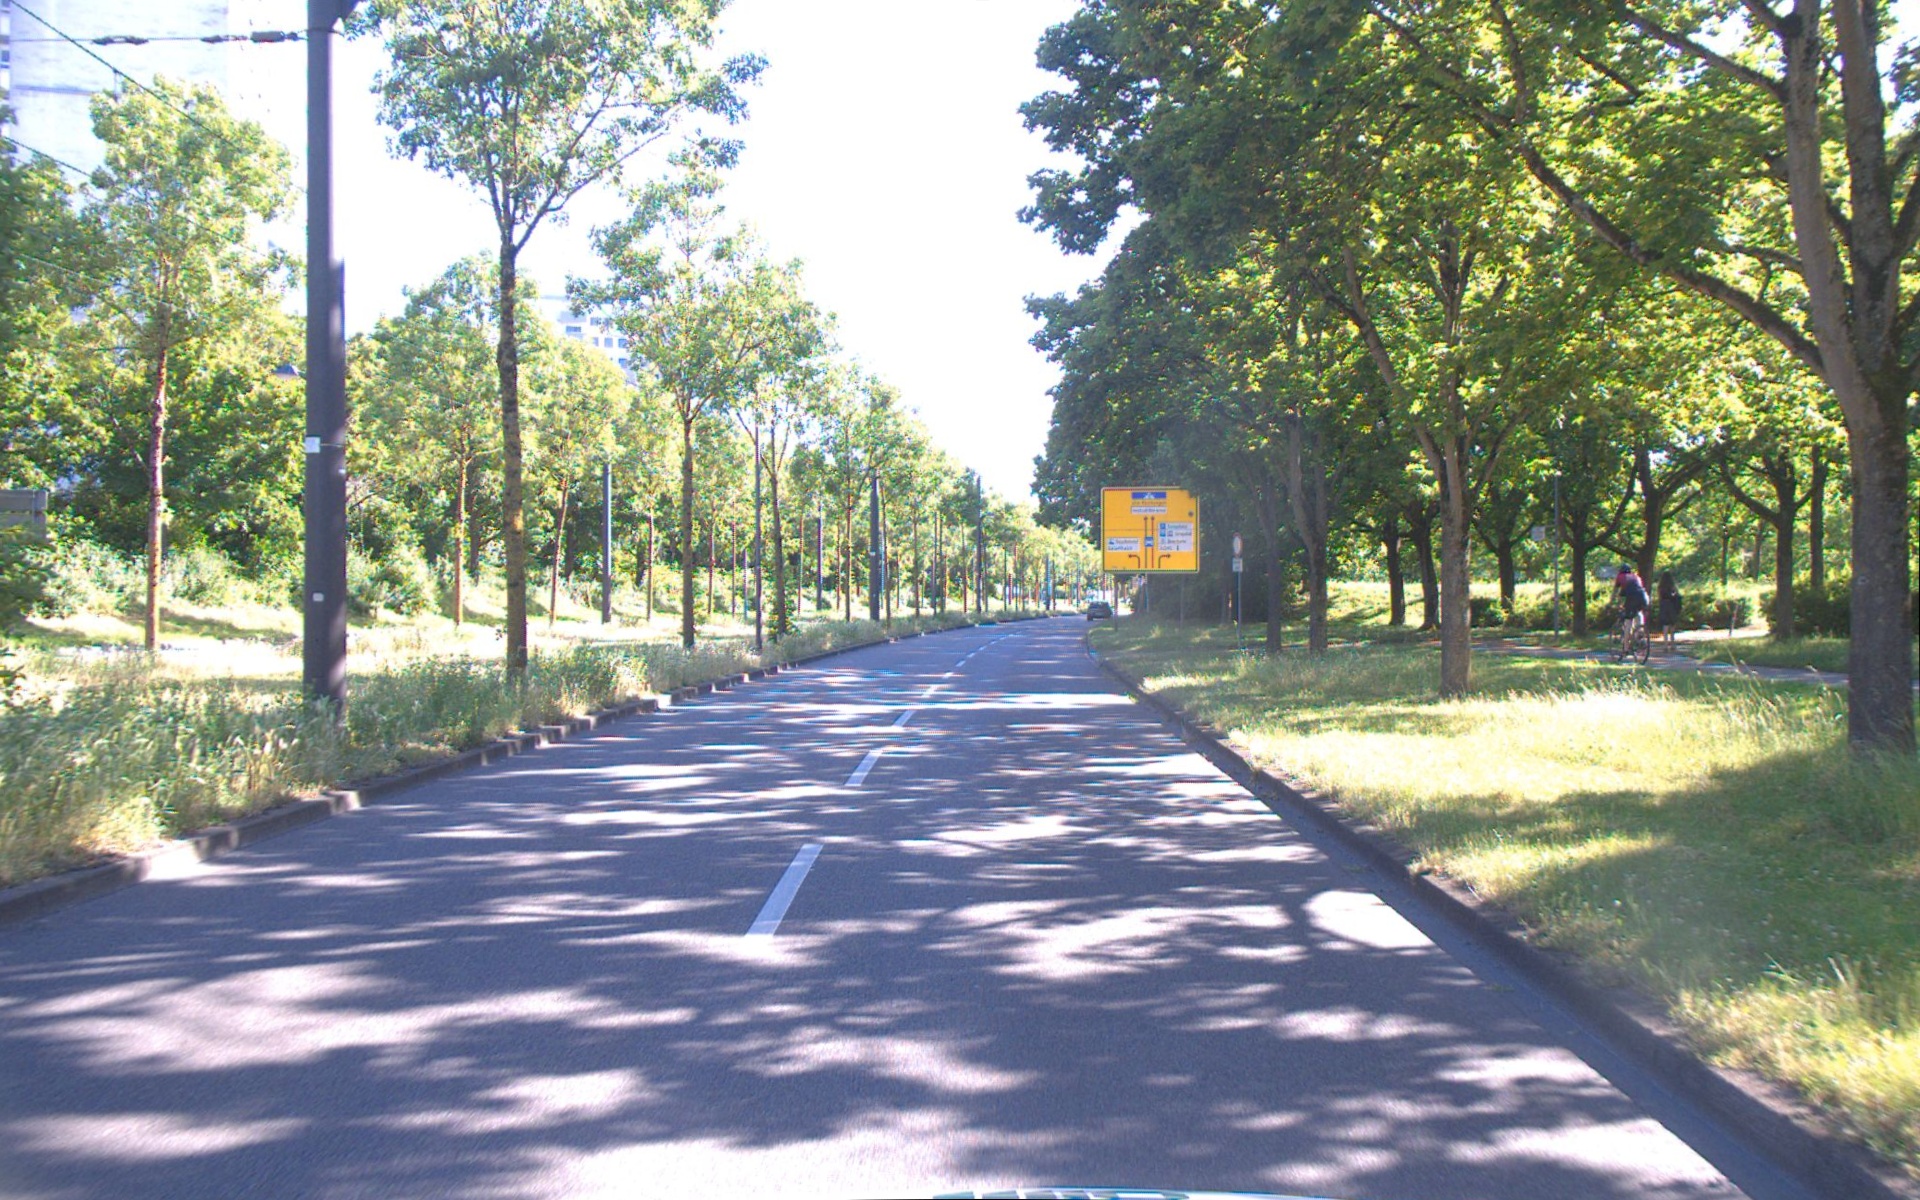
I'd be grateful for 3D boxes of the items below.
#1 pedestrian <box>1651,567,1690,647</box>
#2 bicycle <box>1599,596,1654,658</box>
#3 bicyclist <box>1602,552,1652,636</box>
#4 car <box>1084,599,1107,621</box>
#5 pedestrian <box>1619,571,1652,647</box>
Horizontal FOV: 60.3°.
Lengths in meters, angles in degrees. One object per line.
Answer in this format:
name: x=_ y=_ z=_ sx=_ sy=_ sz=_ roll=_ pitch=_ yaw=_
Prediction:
pedestrian: x=15.538 y=0.157 z=36.204 sx=0.622 sy=1.721 sz=0.844 roll=-1 pitch=0 yaw=13
bicycle: x=12.021 y=0.465 z=29.862 sx=0.778 sy=1.065 sz=2.143 roll=-1 pitch=0 yaw=18
bicyclist: x=11.988 y=-0.104 z=29.765 sx=0.773 sy=1.475 sz=0.845 roll=-1 pitch=0 yaw=19
car: x=9.885 y=0.734 z=120.271 sx=1.599 sy=1.524 sz=4.237 roll=1 pitch=0 yaw=6
pedestrian: x=14.987 y=0.198 z=36.692 sx=0.535 sy=1.650 sz=0.844 roll=-1 pitch=0 yaw=13
